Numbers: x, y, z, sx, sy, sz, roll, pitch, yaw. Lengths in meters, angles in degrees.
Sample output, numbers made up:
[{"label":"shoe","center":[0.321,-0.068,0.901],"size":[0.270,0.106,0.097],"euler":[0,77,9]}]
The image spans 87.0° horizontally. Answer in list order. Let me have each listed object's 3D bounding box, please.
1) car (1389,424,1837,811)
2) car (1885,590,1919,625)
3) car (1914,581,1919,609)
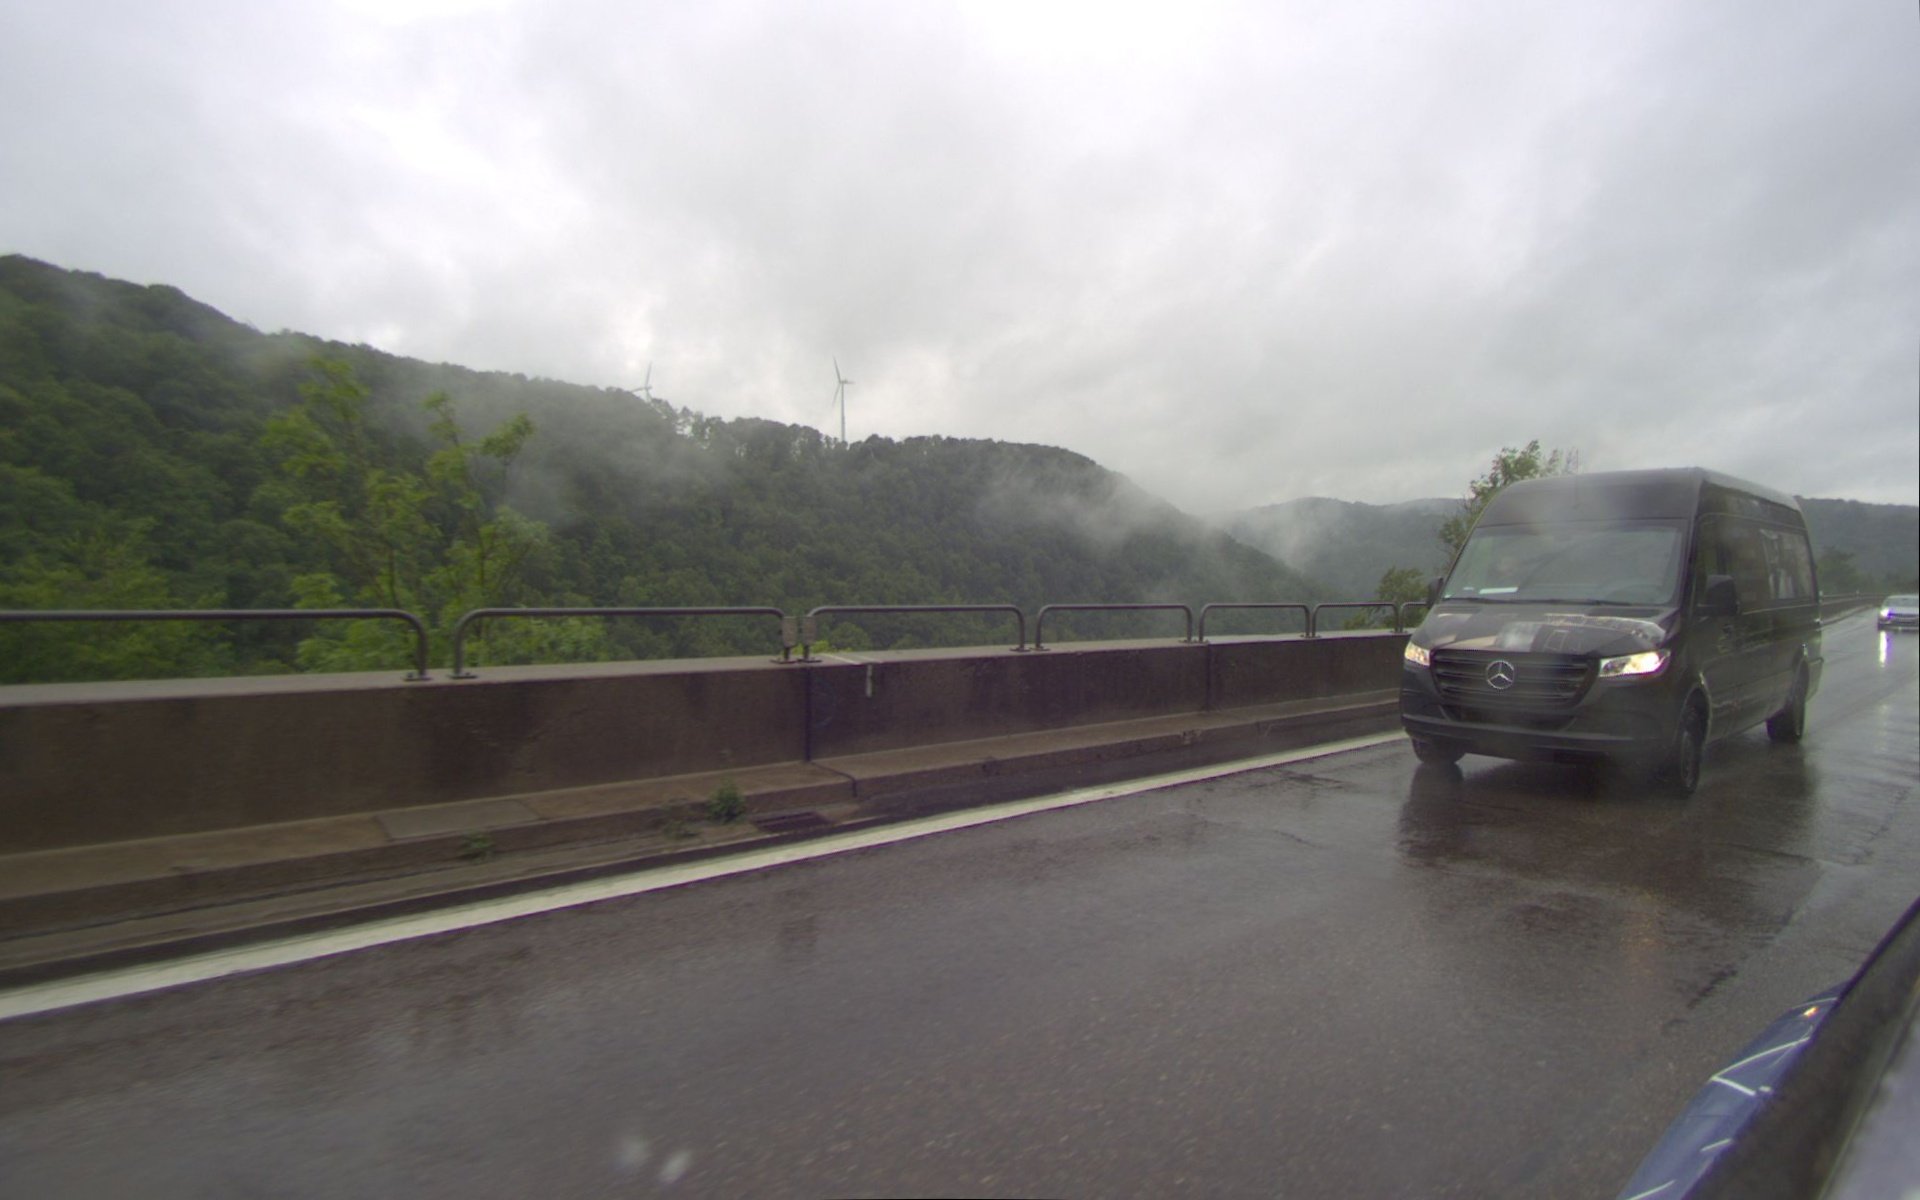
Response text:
[{"label":"car","center":[6.515,0.071,9.587],"size":[6.591,2.525,1.996],"euler":[-1,1,-43]},{"label":"car","center":[42.284,0.320,44.510],"size":[4.488,1.432,1.988],"euler":[-1,4,-44]},{"label":"car","center":[68.015,-0.339,70.814],"size":[1.762,1.885,3.707],"euler":[1,1,45]}]
